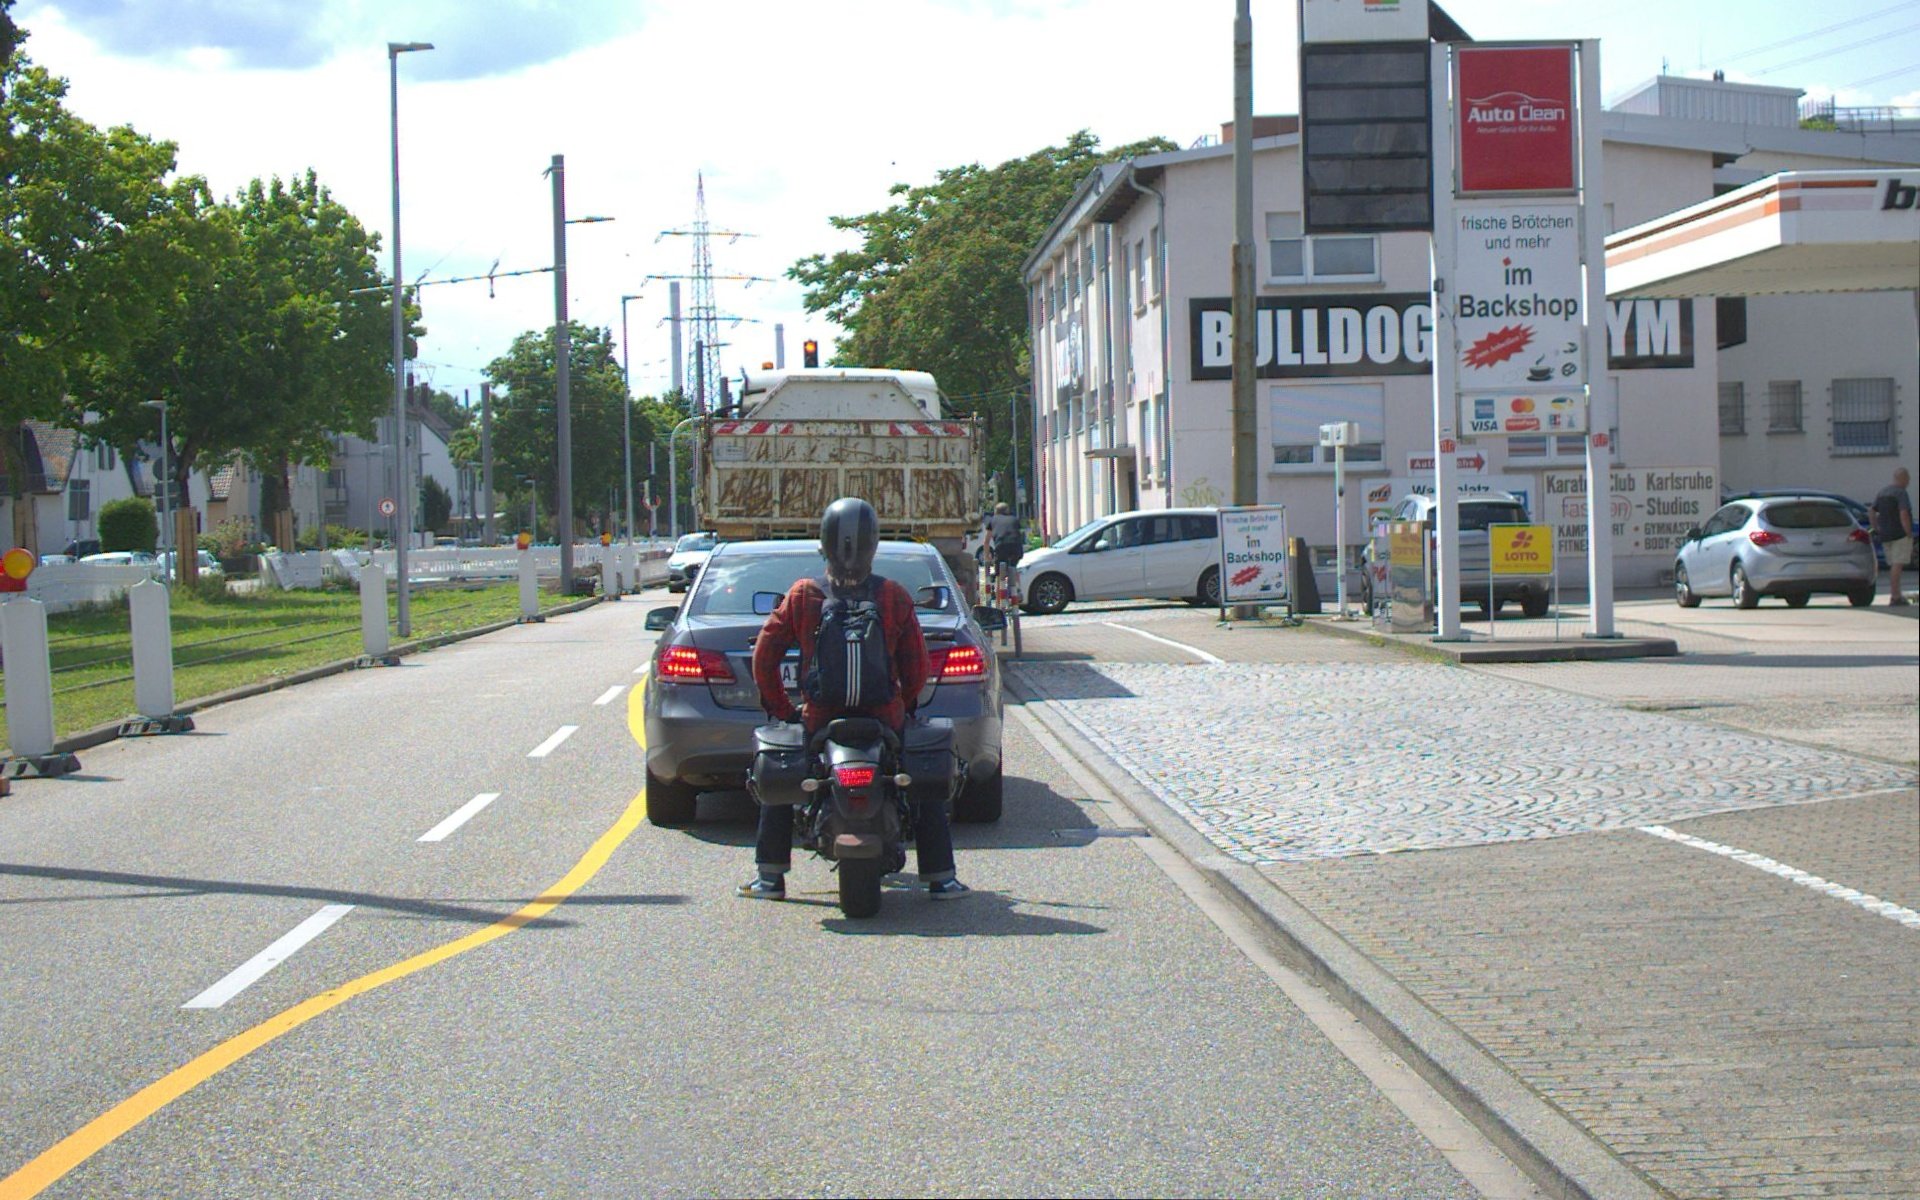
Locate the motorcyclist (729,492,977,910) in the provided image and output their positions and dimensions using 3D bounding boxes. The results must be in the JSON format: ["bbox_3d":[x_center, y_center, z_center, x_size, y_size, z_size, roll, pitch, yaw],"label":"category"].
[{"bbox_3d":[-0.432,0.382,13.913,0.939,1.609,1.205,1,1,-2],"label":"motorcyclist"}]

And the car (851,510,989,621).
[{"bbox_3d":[-0.583,-0.508,47.763,1.821,1.459,4.001,-1,1,-1],"label":"car"}]

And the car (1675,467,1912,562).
[{"bbox_3d":[15.986,-1.630,66.096,3.986,1.643,1.966,-2,1,-2],"label":"car"}]

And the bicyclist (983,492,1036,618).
[{"bbox_3d":[0.691,-0.633,48.327,0.671,1.738,0.814,-1,1,-2],"label":"bicyclist"}]

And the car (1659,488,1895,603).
[{"bbox_3d":[10.946,-0.729,46.337,1.959,1.415,4.001,-2,1,-4],"label":"car"}]

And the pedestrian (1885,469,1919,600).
[{"bbox_3d":[12.304,-0.847,44.625,0.396,1.683,0.485,-2,1,-1],"label":"pedestrian"}]

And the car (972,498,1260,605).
[{"bbox_3d":[2.514,-0.793,56.072,4.329,1.546,1.950,-2,1,-9],"label":"car"}]

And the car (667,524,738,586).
[{"bbox_3d":[-6.388,-1.136,85.490,1.654,1.442,4.304,-2,2,-4],"label":"car"}]

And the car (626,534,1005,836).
[{"bbox_3d":[-0.758,0.372,18.656,1.821,1.419,4.001,-1,1,-2],"label":"car"}]

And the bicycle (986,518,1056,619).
[{"bbox_3d":[0.846,-0.458,48.365,0.692,1.357,2.419,-2,2,-5],"label":"bicycle"}]

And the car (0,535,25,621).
[{"bbox_3d":[-18.827,-0.365,63.619,1.993,1.601,4.000,-2,1,-2],"label":"car"}]

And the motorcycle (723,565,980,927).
[{"bbox_3d":[-0.443,0.531,14.097,0.939,1.316,2.645,1,1,-2],"label":"motorcycle"}]

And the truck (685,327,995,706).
[{"bbox_3d":[-1.144,-0.927,34.874,2.610,3.244,9.183,-2,2,-1],"label":"truck"}]

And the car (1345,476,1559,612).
[{"bbox_3d":[6.455,-0.733,45.517,1.959,1.643,4.001,-2,1,-4],"label":"car"}]
